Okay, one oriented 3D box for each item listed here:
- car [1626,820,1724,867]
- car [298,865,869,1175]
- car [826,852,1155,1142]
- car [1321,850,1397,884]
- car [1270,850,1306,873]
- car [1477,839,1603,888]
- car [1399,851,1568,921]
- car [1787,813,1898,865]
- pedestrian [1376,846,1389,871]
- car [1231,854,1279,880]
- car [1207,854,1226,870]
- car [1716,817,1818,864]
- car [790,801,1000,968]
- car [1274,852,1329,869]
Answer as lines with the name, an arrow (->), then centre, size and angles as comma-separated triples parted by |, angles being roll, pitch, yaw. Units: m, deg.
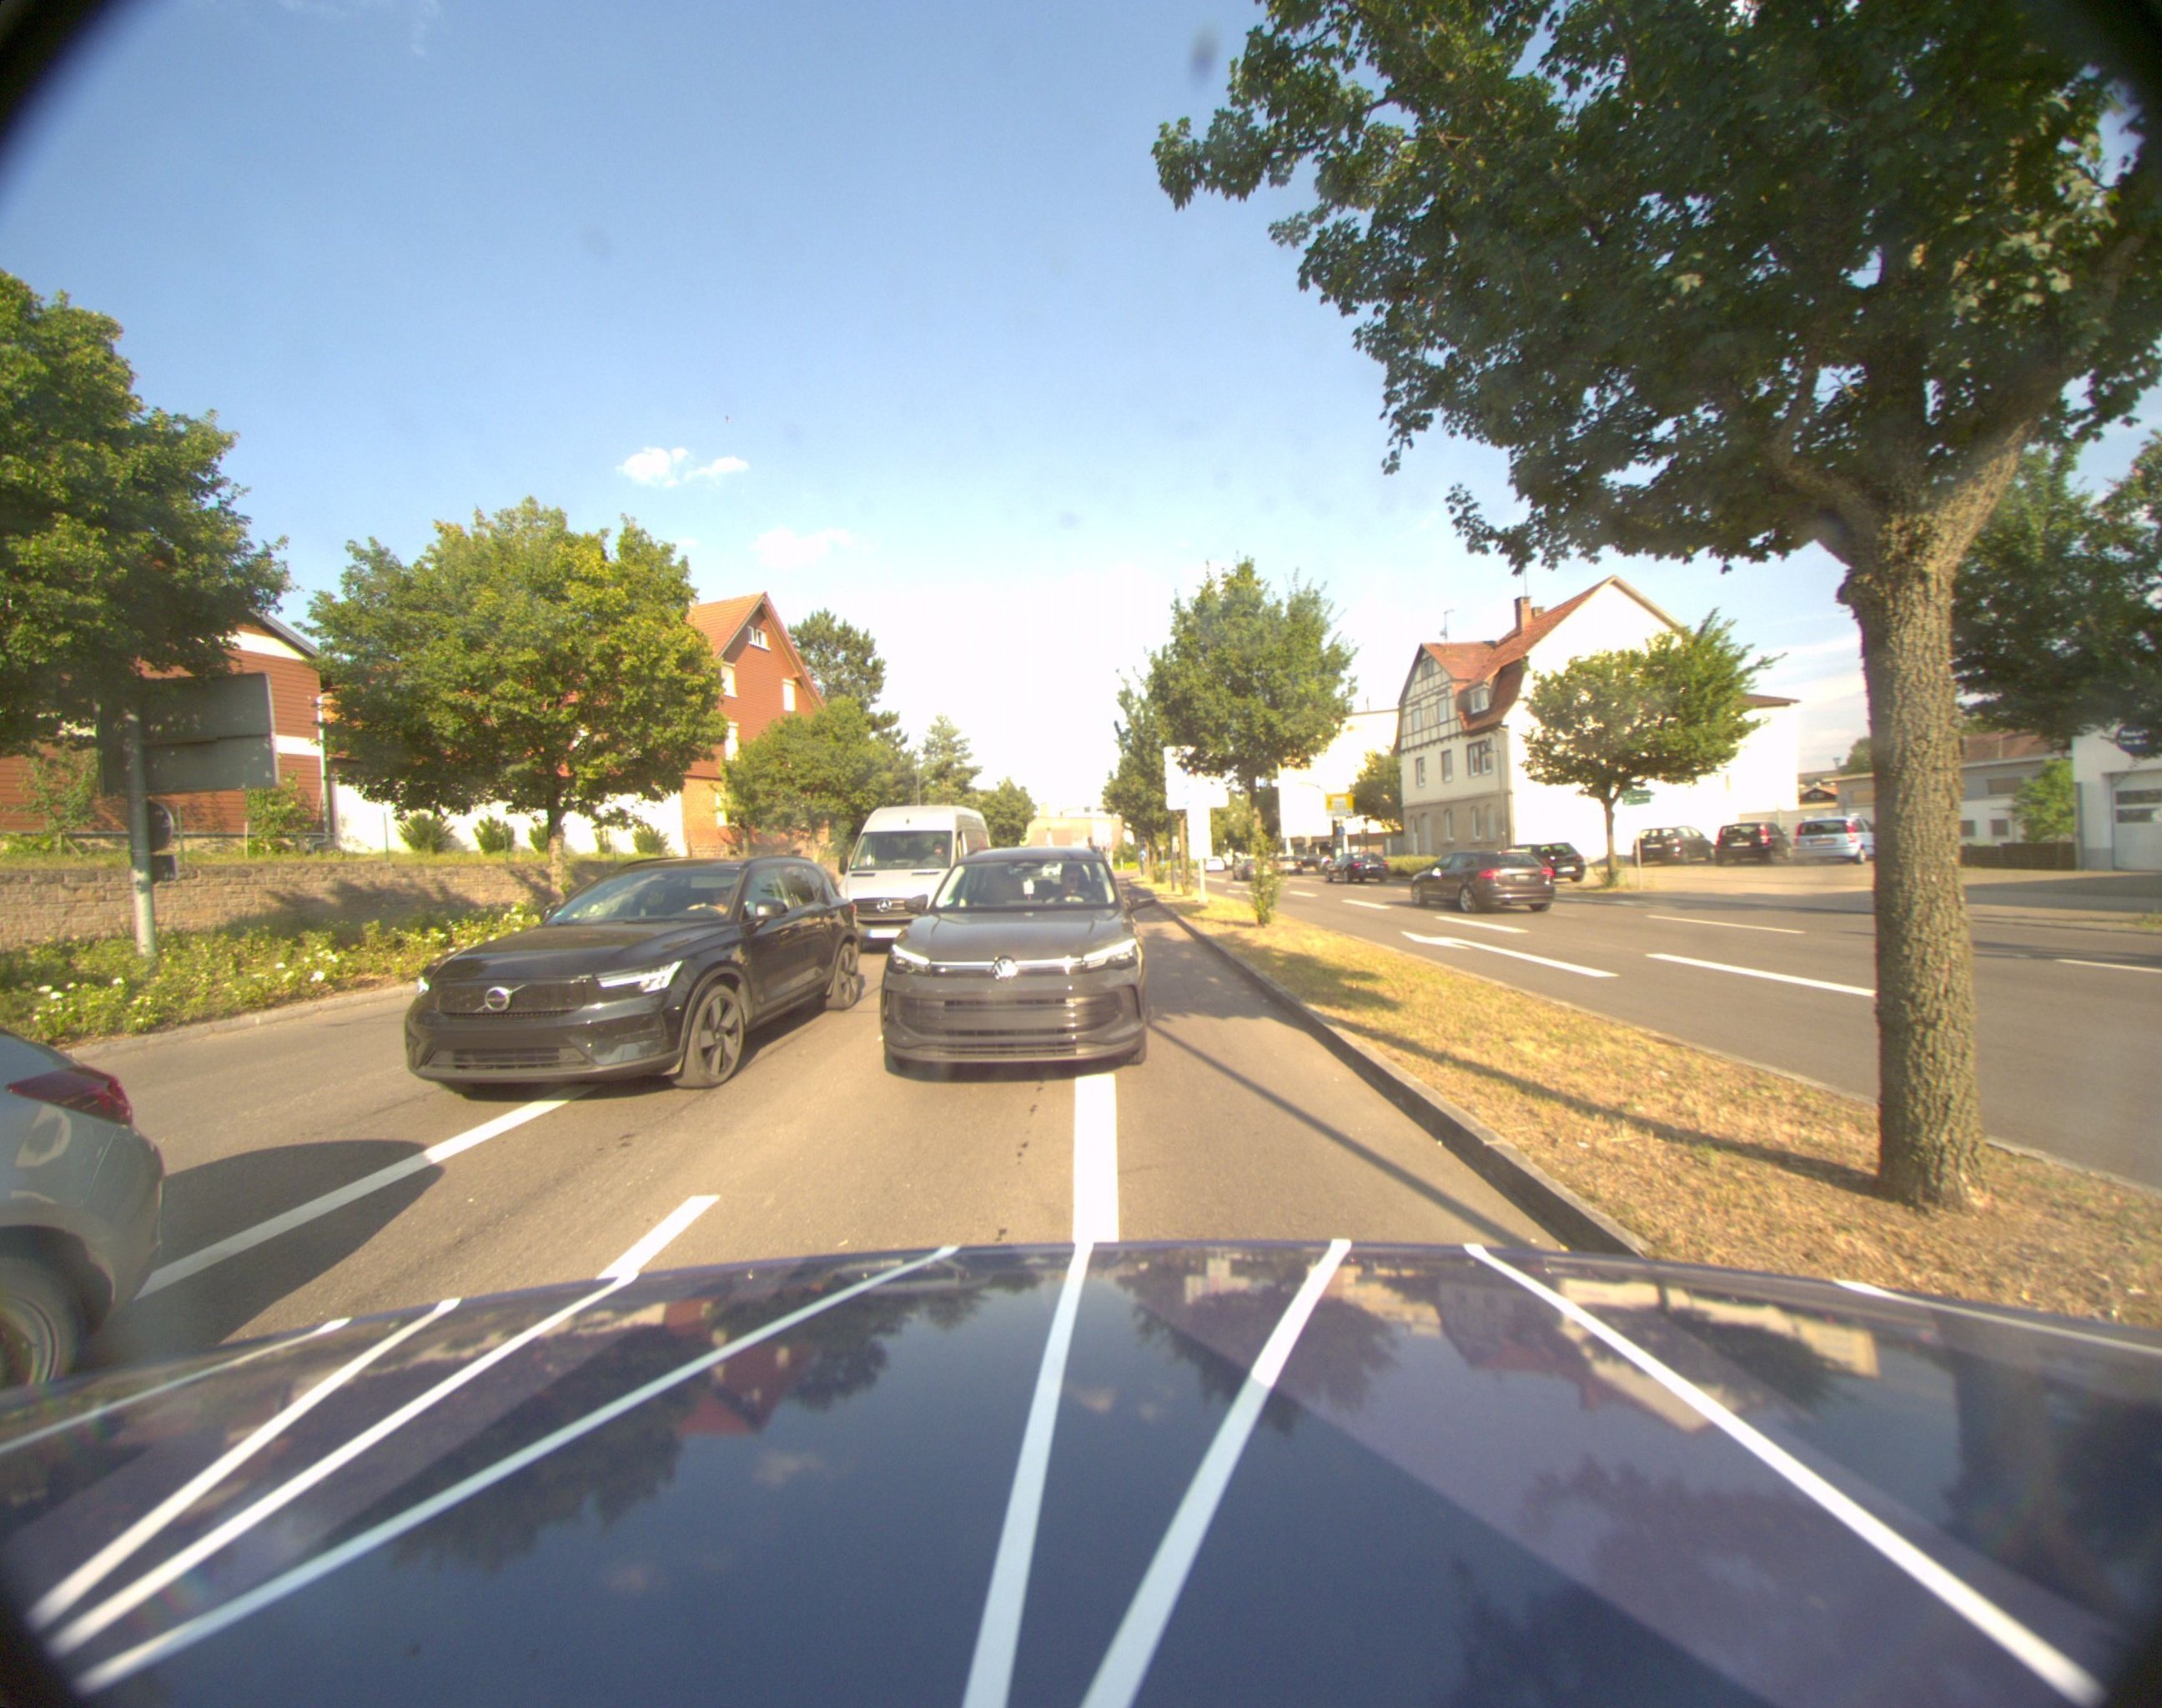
car -> 23.350, -0.418, 29.849 | 4.006, 1.543, 1.764 | -4, 1, -33
car -> -3.362, 0.965, 6.316 | 1.886, 1.599, 4.128 | -2, 0, 2
car -> -0.478, 0.848, 6.862 | 1.894, 1.647, 4.730 | -2, 0, 1
car -> 12.771, 0.546, 35.212 | 1.848, 1.413, 4.644 | -2, 0, 1
car -> 14.394, 0.514, 53.025 | 1.690, 1.454, 4.713 | -2, 0, 7
car -> 16.001, 0.307, 26.790 | 1.839, 1.435, 4.195 | -5, 0, 1
car -> 9.180, 0.646, 17.758 | 1.649, 1.378, 4.189 | -2, 0, -1
car -> 24.972, -0.488, 24.879 | 4.006, 1.543, 1.763 | -2, 1, -33
pedestrian -> 23.921, 0.335, 60.213 | 0.589, 1.971, 0.699 | -2, 1, -16
car -> 10.042, 0.705, 44.170 | 1.785, 1.341, 4.478 | -2, 0, 0
car -> 13.695, 0.757, 76.845 | 1.804, 1.488, 3.958 | -2, 0, 11
car -> 24.898, -0.489, 27.553 | 4.006, 1.543, 1.763 | -2, 1, -33
car -> -3.232, 0.461, 14.960 | 2.370, 2.532, 6.192 | -2, 0, 2
car -> 20.060, 0.545, 69.238 | 4.660, 1.346, 1.768 | -2, 1, 9
